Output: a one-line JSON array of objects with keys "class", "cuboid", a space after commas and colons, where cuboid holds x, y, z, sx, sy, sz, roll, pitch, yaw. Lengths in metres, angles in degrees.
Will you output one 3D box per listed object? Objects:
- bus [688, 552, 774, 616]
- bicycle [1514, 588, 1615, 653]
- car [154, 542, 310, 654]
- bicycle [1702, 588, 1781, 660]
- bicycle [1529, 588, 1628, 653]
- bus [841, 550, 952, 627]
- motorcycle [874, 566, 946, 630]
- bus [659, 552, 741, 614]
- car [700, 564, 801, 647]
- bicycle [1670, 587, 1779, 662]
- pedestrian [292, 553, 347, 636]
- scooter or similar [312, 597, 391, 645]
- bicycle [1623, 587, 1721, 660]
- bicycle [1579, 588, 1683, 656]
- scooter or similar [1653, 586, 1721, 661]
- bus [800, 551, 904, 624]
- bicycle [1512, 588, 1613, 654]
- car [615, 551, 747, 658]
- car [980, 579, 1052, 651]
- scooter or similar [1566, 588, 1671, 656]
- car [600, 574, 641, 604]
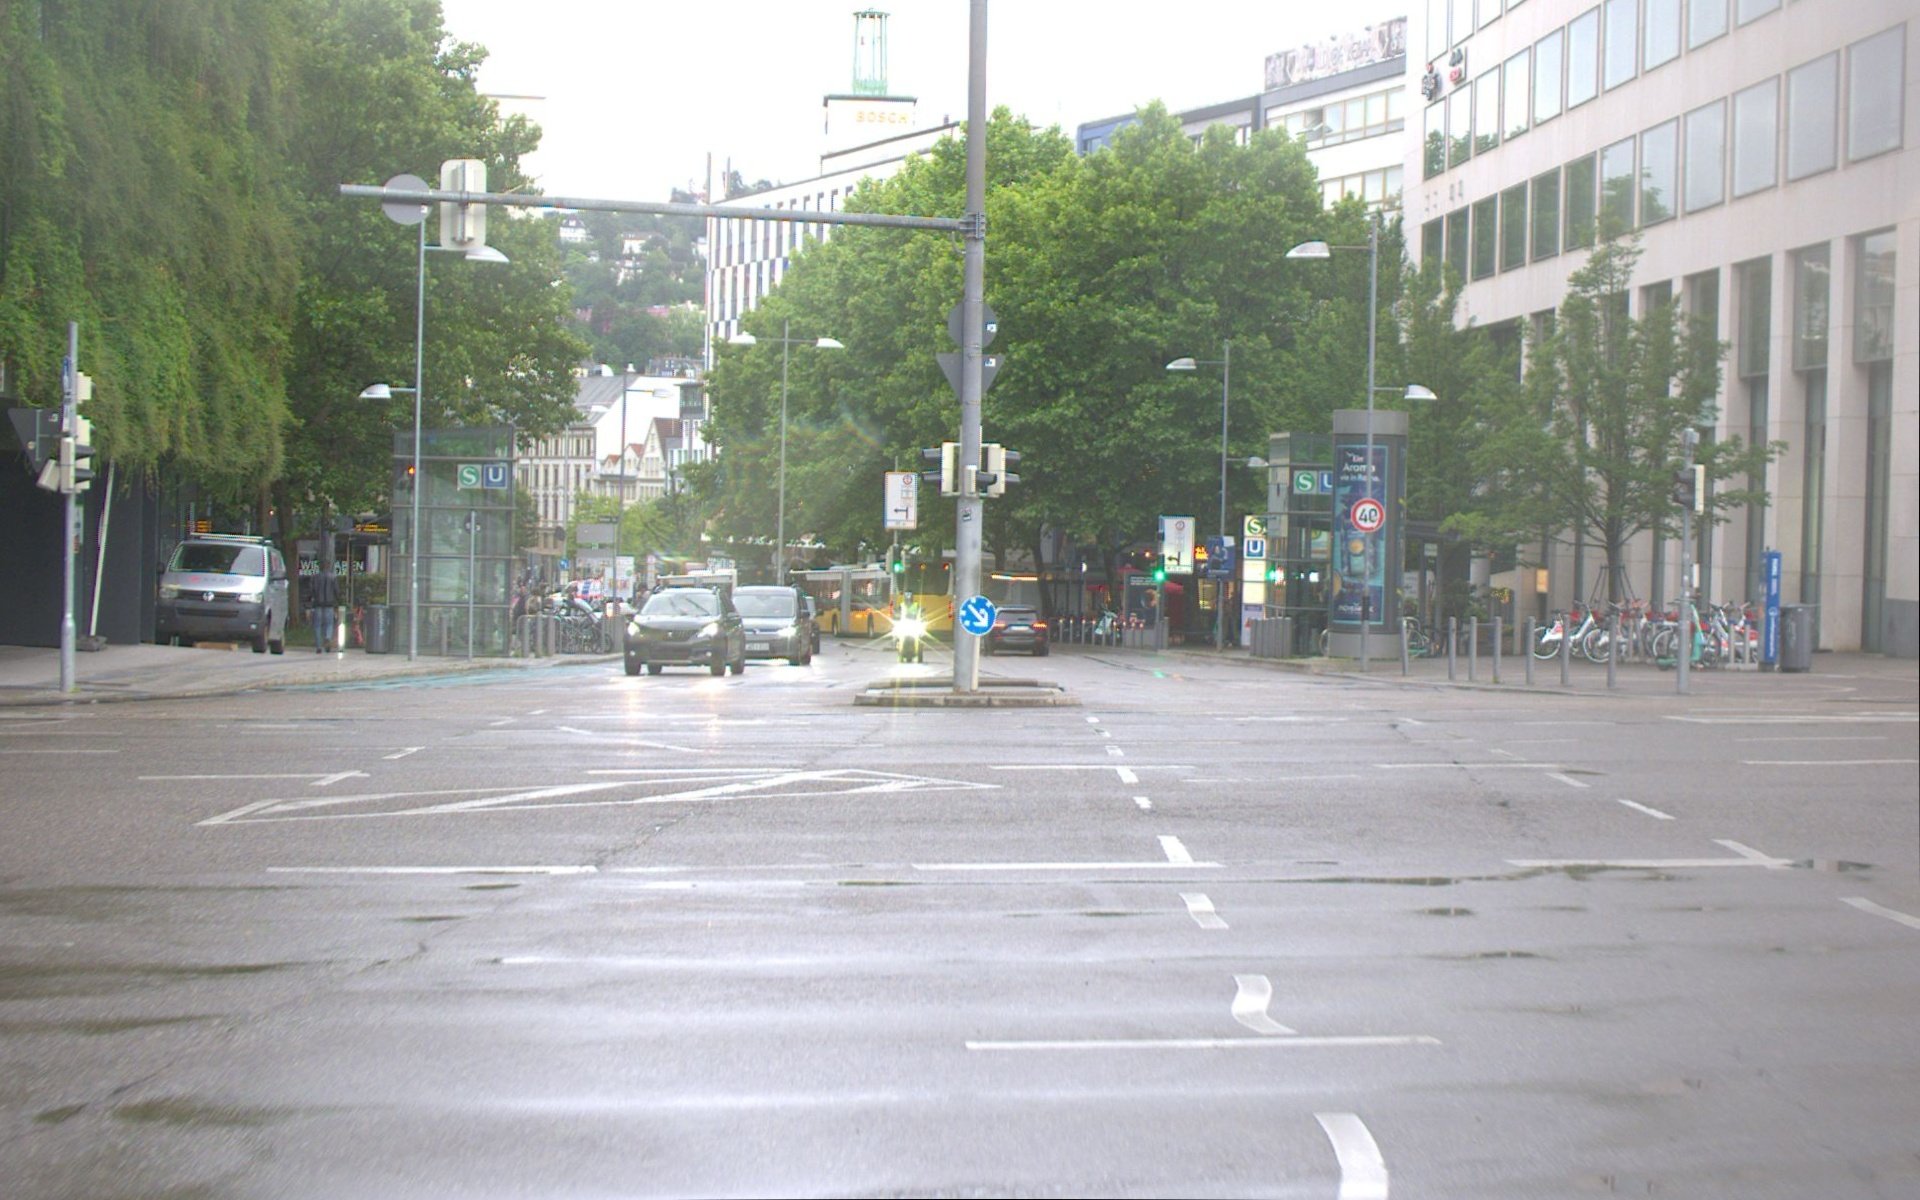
[{"class": "bus", "cuboid": [-11.003, -0.779, 164.428, 2.627, 2.985, 7.330, 0, 1, -16]}, {"class": "bicycle", "cuboid": [11.349, 0.384, 64.564, 1.777, 1.190, 0.586, 1, 0, 2]}, {"class": "car", "cuboid": [-12.559, -0.028, 59.519, 1.870, 1.833, 4.000, 1, 0, -1]}, {"class": "bicycle", "cuboid": [13.212, 0.410, 58.106, 0.586, 1.190, 1.779, 1, 0, 38]}, {"class": "bicycle", "cuboid": [11.778, 0.393, 65.481, 1.777, 1.190, 0.586, 1, 0, 2]}, {"class": "bus", "cuboid": [-2.583, -0.490, 137.124, 2.627, 2.985, 7.451, 0, 1, -16]}, {"class": "motorcycle", "cuboid": [-1.255, -0.048, 84.867, 1.551, 1.509, 4.385, 1, 0, -3]}, {"class": "bus", "cuboid": [-13.009, -0.860, 171.527, 2.627, 2.985, 7.451, 0, 1, -16]}, {"class": "car", "cuboid": [-4.720, 0.125, 77.483, 2.164, 1.759, 5.112, 1, 0, -3]}, {"class": "bicycle", "cuboid": [12.449, 0.394, 55.997, 1.624, 1.190, 0.586, 1, 0, 26]}, {"class": "pedestrian", "cuboid": [-12.898, -0.113, 69.268, 0.933, 1.638, 0.774, 1, 0, -1]}, {"class": "scooter or similar", "cuboid": [-13.049, 0.442, 73.732, 0.623, 1.001, 1.657, 1, 1, 38]}, {"class": "bicycle", "cuboid": [11.908, 0.386, 57.550, 0.584, 1.190, 1.783, 1, 0, -28]}, {"class": "bicycle", "cuboid": [12.246, 0.398, 62.760, 1.777, 1.190, 0.586, 1, 0, 2]}, {"class": "scooter or similar", "cuboid": [11.694, 0.380, 55.313, 0.963, 1.190, 0.454, 1, 0, 40]}, {"class": "bus", "cuboid": [-4.587, -0.559, 144.274, 2.627, 2.985, 7.451, 0, 1, -16]}, {"class": "bicycle", "cuboid": [11.200, 0.381, 63.930, 1.777, 1.190, 0.586, 1, 0, 2]}, {"class": "car", "cuboid": [-4.842, 0.084, 60.259, 2.164, 1.759, 5.112, 1, 0, -3]}, {"class": "car", "cuboid": [1.576, 0.426, 98.894, 1.543, 2.007, 4.669, 1, 0, -5]}, {"class": "scooter or similar", "cuboid": [11.891, 0.391, 62.137, 1.777, 1.190, 0.586, 1, 0, 2]}, {"class": "car", "cuboid": [-17.663, -0.577, 178.982, 1.781, 1.503, 4.000, 1, 0, -1]}]
